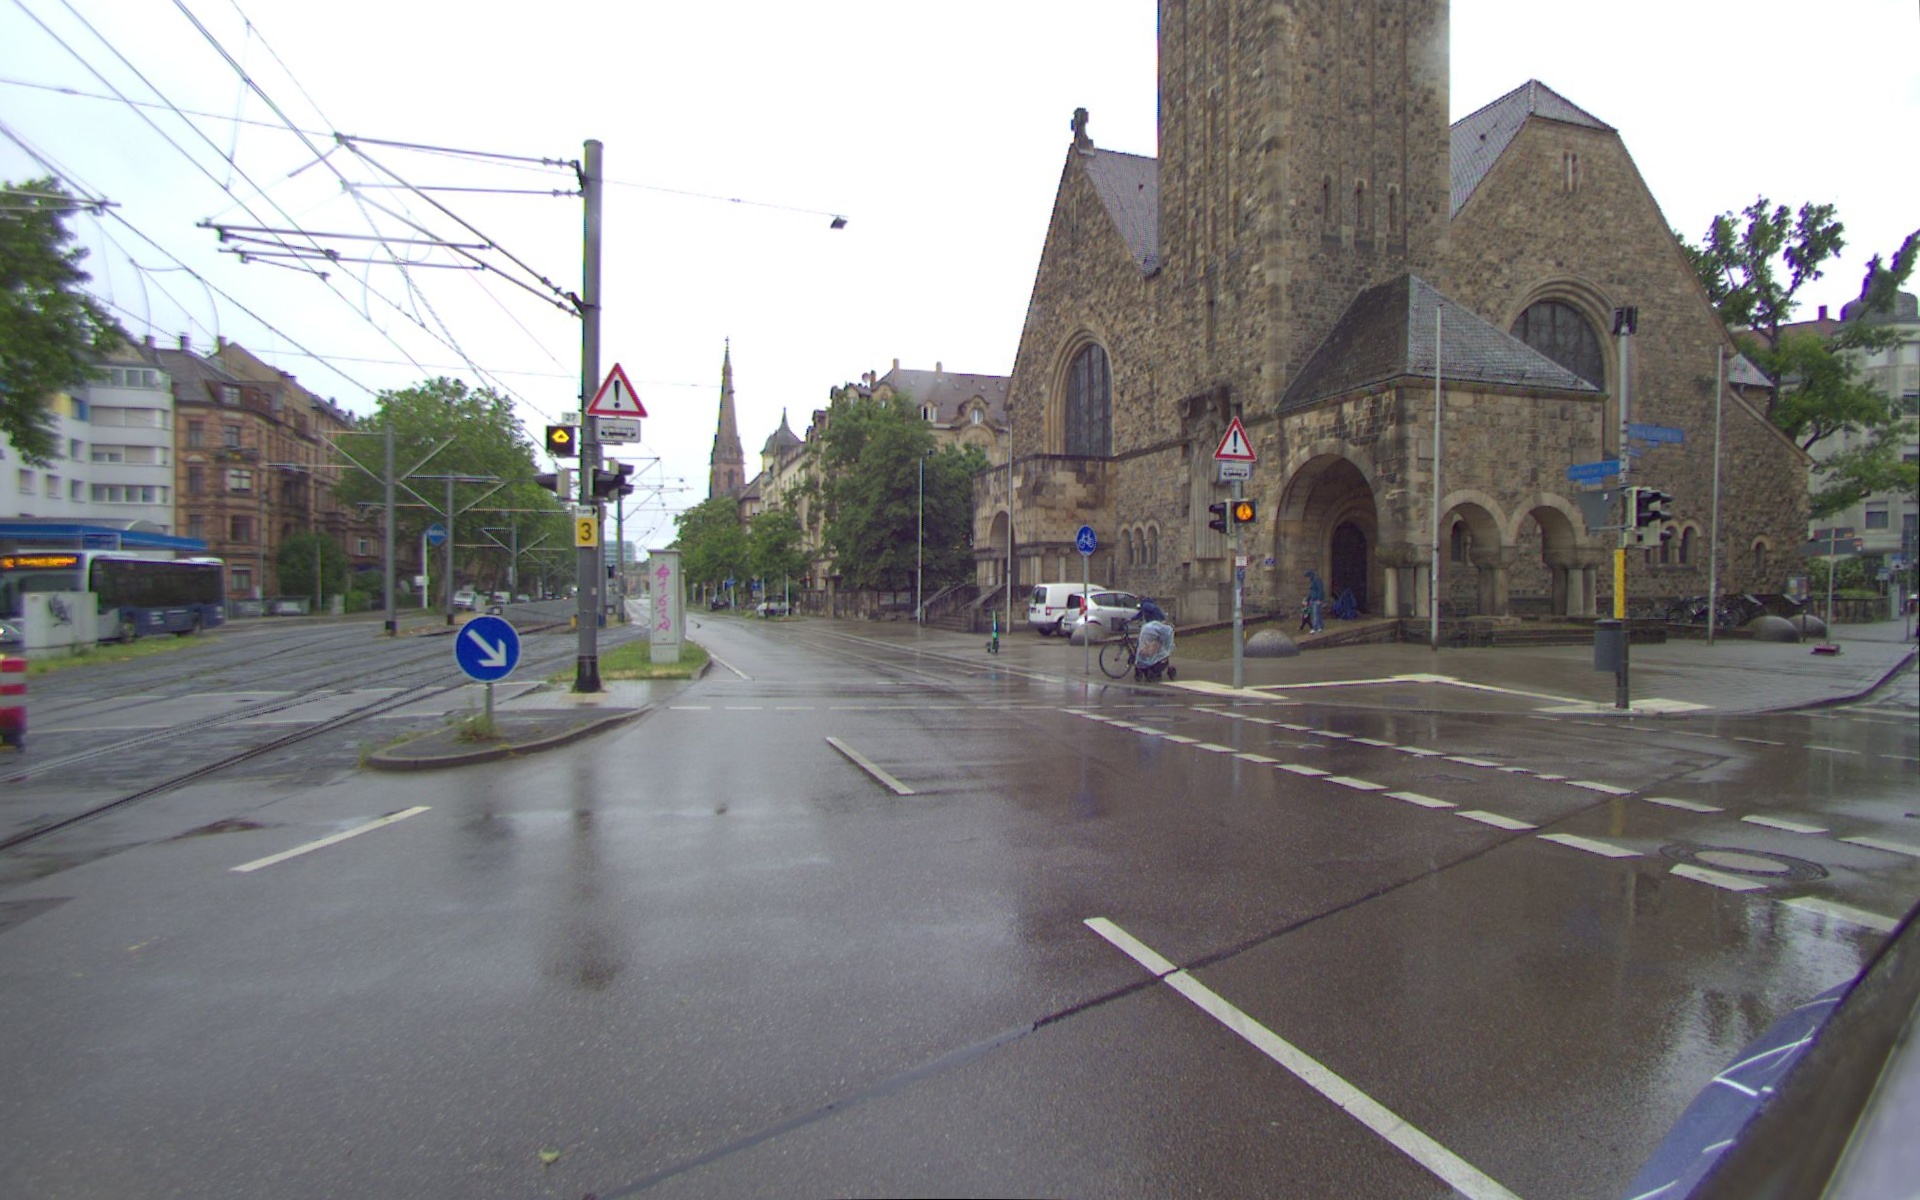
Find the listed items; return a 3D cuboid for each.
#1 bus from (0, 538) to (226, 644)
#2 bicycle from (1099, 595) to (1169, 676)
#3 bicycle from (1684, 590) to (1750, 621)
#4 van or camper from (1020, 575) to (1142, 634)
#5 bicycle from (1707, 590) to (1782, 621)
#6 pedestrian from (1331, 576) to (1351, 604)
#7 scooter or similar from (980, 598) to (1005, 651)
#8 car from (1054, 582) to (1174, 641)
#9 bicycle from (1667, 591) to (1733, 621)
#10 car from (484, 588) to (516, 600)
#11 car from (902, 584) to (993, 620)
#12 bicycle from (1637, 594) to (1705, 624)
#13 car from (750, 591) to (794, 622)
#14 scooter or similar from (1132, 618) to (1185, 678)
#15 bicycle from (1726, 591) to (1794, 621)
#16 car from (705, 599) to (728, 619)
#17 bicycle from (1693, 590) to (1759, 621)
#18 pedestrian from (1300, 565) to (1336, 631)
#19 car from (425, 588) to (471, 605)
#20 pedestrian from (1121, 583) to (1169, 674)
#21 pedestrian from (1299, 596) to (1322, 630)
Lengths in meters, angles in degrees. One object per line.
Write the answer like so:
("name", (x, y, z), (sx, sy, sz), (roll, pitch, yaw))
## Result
("bus", (-29.803, -0.319, 35.957), (2.832, 3.153, 12.127), (0, 0, -20))
("bicycle", (3.395, 0.657, 19.638), (0.530, 1.485, 1.914), (0, 0, 37))
("bicycle", (27.810, 0.197, 37.217), (0.569, 1.074, 1.932), (0, 1, -21))
("van or camper", (4.253, 0.124, 35.711), (3.849, 1.749, 1.652), (-4, 2, -19))
("bicycle", (29.180, 0.193, 37.677), (0.664, 1.074, 2.160), (0, 1, -21))
("pedestrian", (12.119, -0.310, 32.185), (0.447, 0.895, 0.397), (0, 0, -20))
("scooter or similar", (0.871, 0.660, 27.476), (0.280, 1.404, 1.106), (0, 0, -20))
("car", (4.914, 0.332, 32.381), (3.289, 1.593, 1.740), (-4, 1, -17))
("bicycle", (27.127, 0.202, 37.125), (0.569, 1.074, 1.932), (0, 1, -24))
("car", (-62.744, -0.777, 138.044), (3.740, 1.644, 1.780), (0, 0, -19))
("car", (-0.607, 0.073, 48.060), (3.916, 1.638, 2.004), (-1, 1, -19))
("bicycle", (25.876, 0.312, 36.884), (0.565, 1.062, 2.013), (0, 1, -26))
("car", (-11.872, 0.379, 63.743), (1.939, 1.816, 4.008), (-1, 1, -22))
("scooter or similar", (3.666, 0.869, 18.667), (0.908, 1.062, 0.514), (0, 0, -41))
("bicycle", (30.035, 0.215, 38.027), (0.593, 1.080, 1.987), (0, 1, -20))
("car", (-23.474, 0.831, 97.503), (1.744, 1.799, 4.008), (-1, 1, -19))
("bicycle", (28.392, 0.194, 37.539), (0.569, 1.074, 1.932), (0, 1, -21))
("pedestrian", (9.465, -0.057, 26.760), (0.664, 1.724, 0.635), (0, 0, -23))
("car", (-51.216, -0.346, 101.269), (3.758, 1.644, 1.771), (-1, 1, -44))
("pedestrian", (3.498, 0.527, 19.182), (0.677, 1.684, 0.604), (0, 0, -40))
("pedestrian", (9.545, 0.351, 27.600), (0.388, 0.895, 0.457), (0, 0, -23))
